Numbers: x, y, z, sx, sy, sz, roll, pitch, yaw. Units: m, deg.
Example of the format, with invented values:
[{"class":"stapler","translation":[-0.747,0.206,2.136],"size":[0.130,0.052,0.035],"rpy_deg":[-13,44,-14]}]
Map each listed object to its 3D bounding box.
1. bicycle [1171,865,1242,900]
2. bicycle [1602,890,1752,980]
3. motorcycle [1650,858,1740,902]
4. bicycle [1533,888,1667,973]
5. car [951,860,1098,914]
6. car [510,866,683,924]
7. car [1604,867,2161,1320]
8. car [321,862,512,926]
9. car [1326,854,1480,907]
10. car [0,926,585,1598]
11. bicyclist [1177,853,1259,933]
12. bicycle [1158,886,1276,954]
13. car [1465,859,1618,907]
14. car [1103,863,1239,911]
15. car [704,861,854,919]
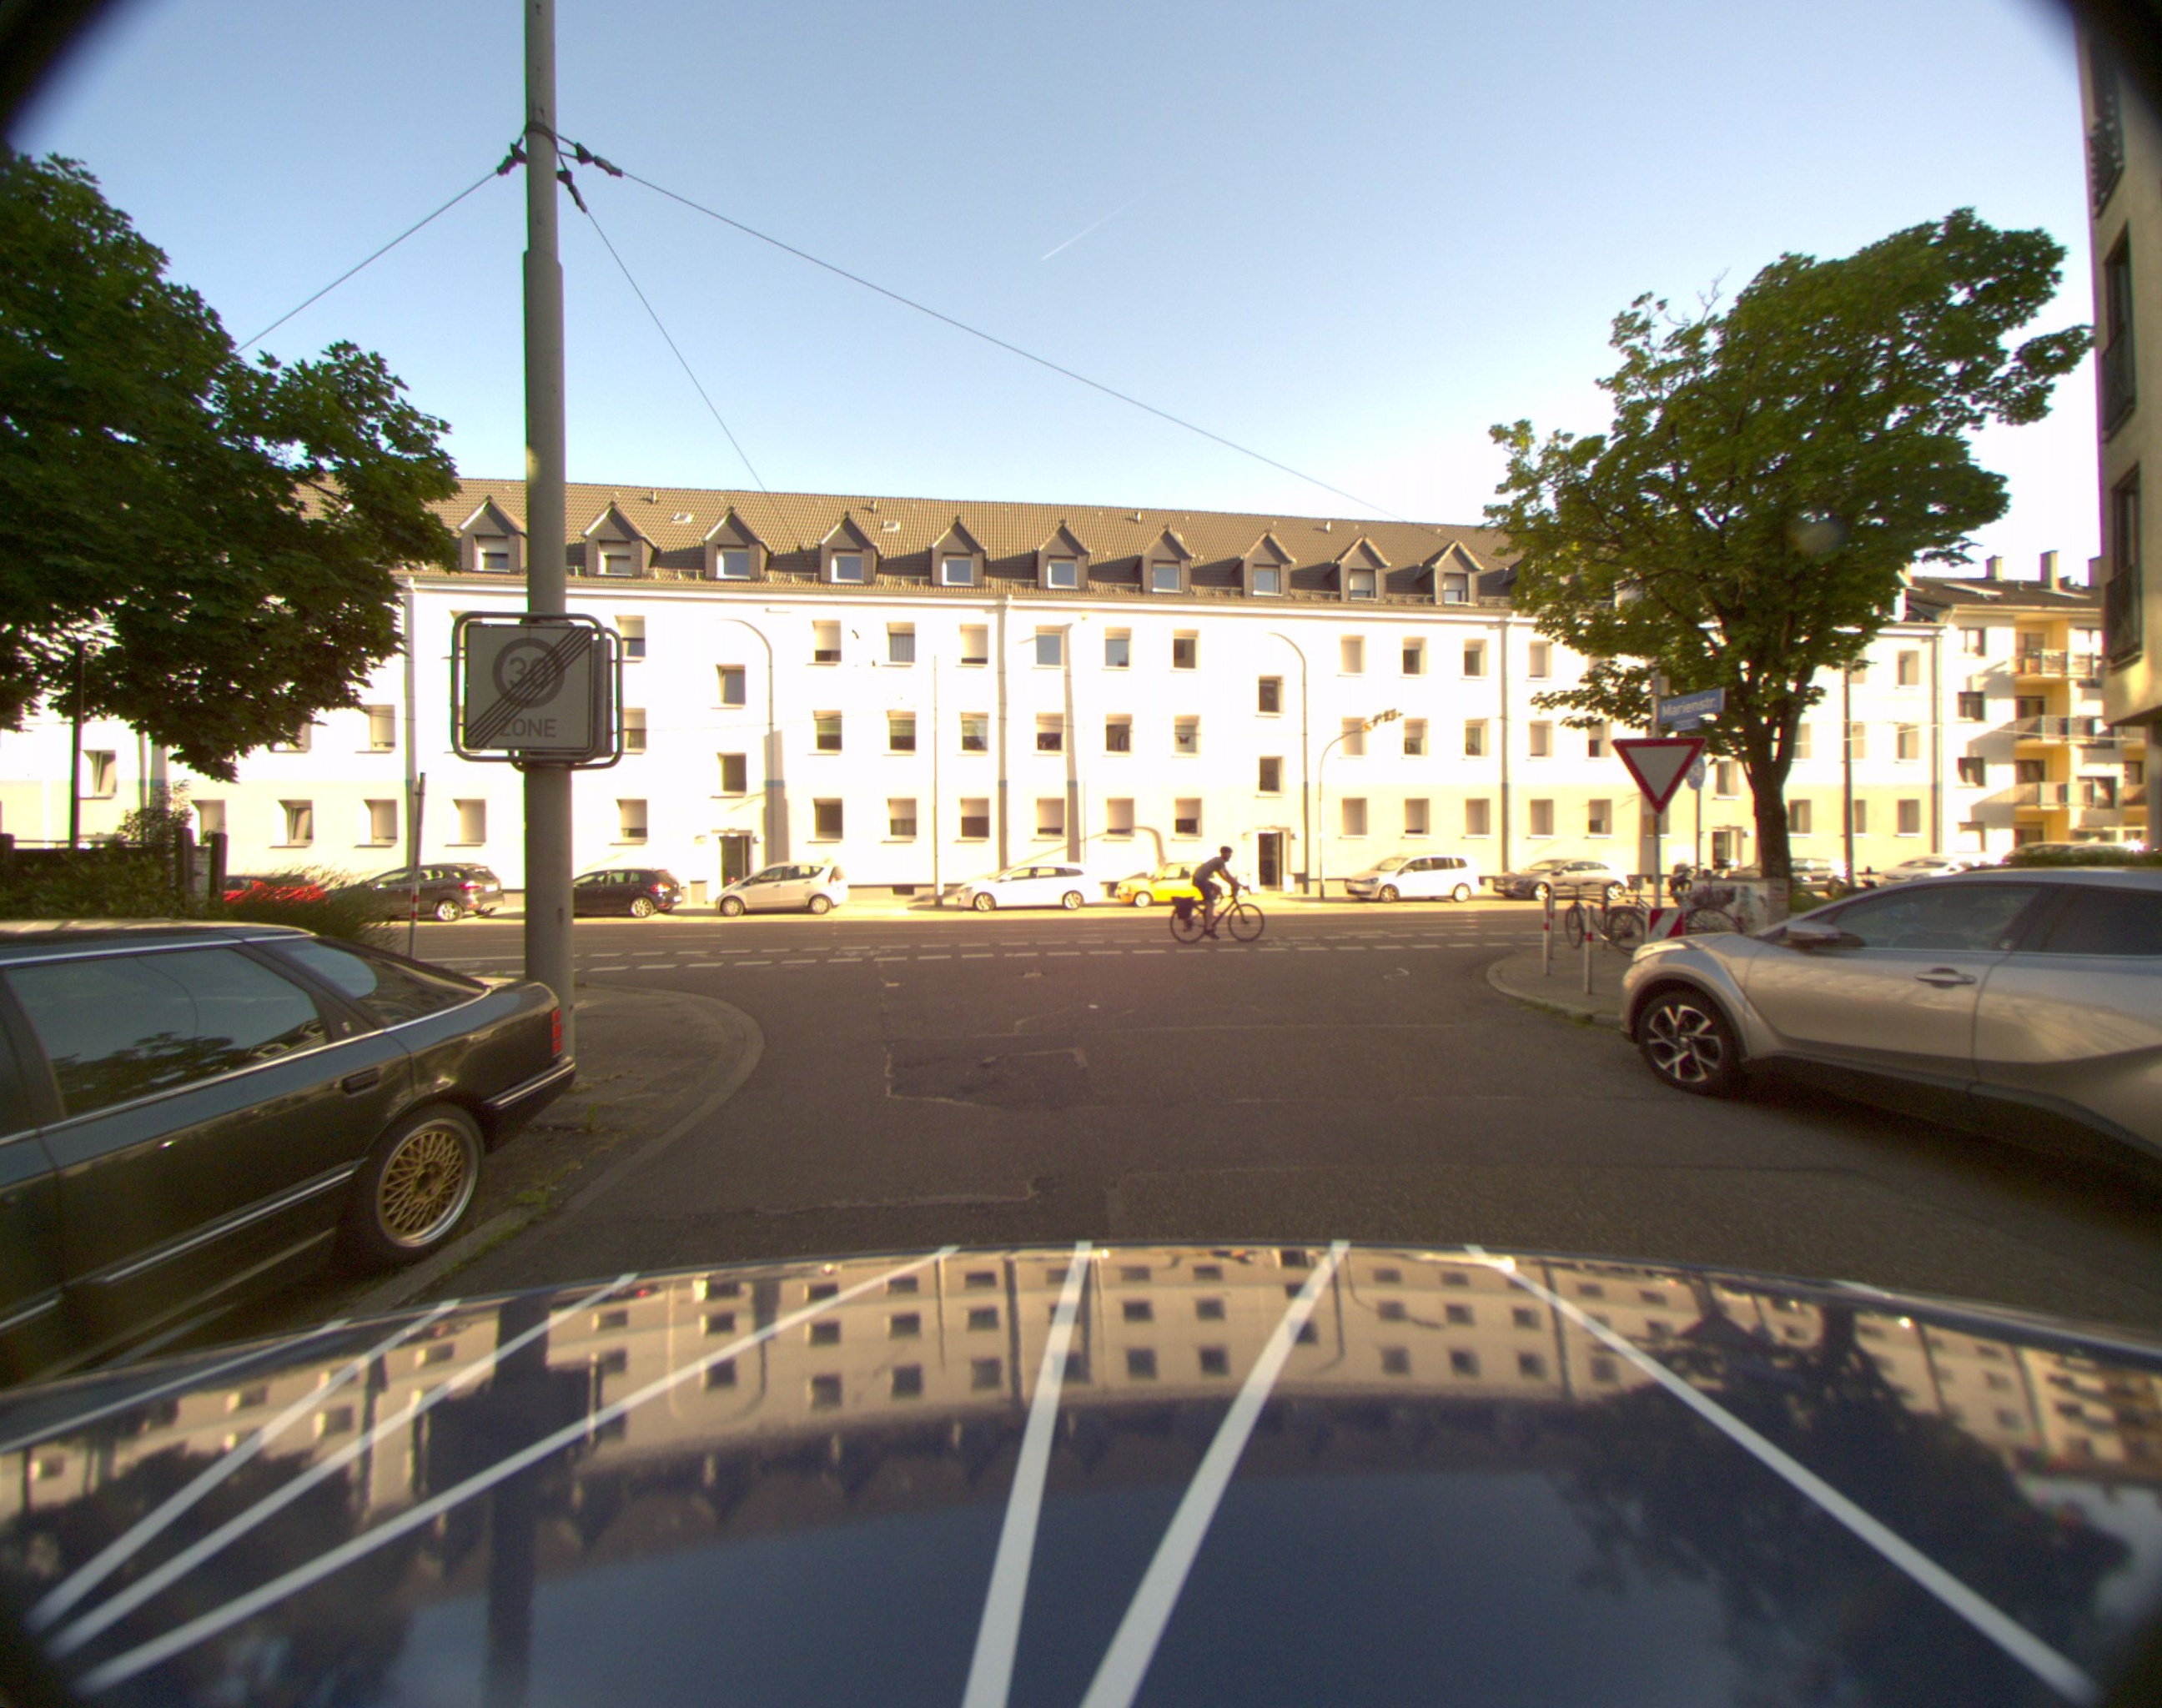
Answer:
[{"class":"bicycle","translation":[4.517,1.013,27.516],"size":[2.327,1.190,1.098],"rpy_deg":[0,0,-8]},{"class":"bicycle","translation":[8.374,1.092,10.787],"size":[0.595,1.078,1.811],"rpy_deg":[0,0,-5]},{"class":"motorcycle","translation":[21.994,0.910,27.220],"size":[2.708,1.513,0.807],"rpy_deg":[0,1,-5]},{"class":"bicycle","translation":[7.679,1.090,11.358],"size":[0.595,1.078,1.882],"rpy_deg":[0,0,-5]},{"class":"car","translation":[-1.814,1.029,24.265],"size":[4.509,1.562,1.683],"rpy_deg":[0,2,-7]},{"class":"car","translation":[-14.360,1.175,22.713],"size":[4.008,1.529,1.595],"rpy_deg":[0,2,-10]},{"class":"car","translation":[4.983,0.955,3.657],"size":[1.909,1.650,3.998],"rpy_deg":[2,0,-5]},{"class":"car","translation":[-19.363,1.128,22.296],"size":[3.903,1.661,1.664],"rpy_deg":[0,4,-6]},{"class":"car","translation":[10.979,0.865,26.010],"size":[4.626,1.656,1.758],"rpy_deg":[0,2,-10]},{"class":"car","translation":[-3.416,1.080,1.604],"size":[1.712,1.380,4.569],"rpy_deg":[-1,0,0]},{"class":"bicyclist","translation":[2.386,0.657,13.413],"size":[1.095,1.323,1.186],"rpy_deg":[0,0,-9]},{"class":"bicycle","translation":[2.389,1.142,13.432],"size":[1.960,1.095,0.623],"rpy_deg":[0,2,-8]},{"class":"car","translation":[16.253,0.979,26.922],"size":[4.365,1.546,1.868],"rpy_deg":[0,2,-6]},{"class":"car","translation":[2.910,1.045,24.974],"size":[4.201,1.422,1.517],"rpy_deg":[-1,1,-8]},{"class":"car","translation":[-9.200,1.070,23.417],"size":[3.903,1.562,1.758],"rpy_deg":[0,3,-6]}]
